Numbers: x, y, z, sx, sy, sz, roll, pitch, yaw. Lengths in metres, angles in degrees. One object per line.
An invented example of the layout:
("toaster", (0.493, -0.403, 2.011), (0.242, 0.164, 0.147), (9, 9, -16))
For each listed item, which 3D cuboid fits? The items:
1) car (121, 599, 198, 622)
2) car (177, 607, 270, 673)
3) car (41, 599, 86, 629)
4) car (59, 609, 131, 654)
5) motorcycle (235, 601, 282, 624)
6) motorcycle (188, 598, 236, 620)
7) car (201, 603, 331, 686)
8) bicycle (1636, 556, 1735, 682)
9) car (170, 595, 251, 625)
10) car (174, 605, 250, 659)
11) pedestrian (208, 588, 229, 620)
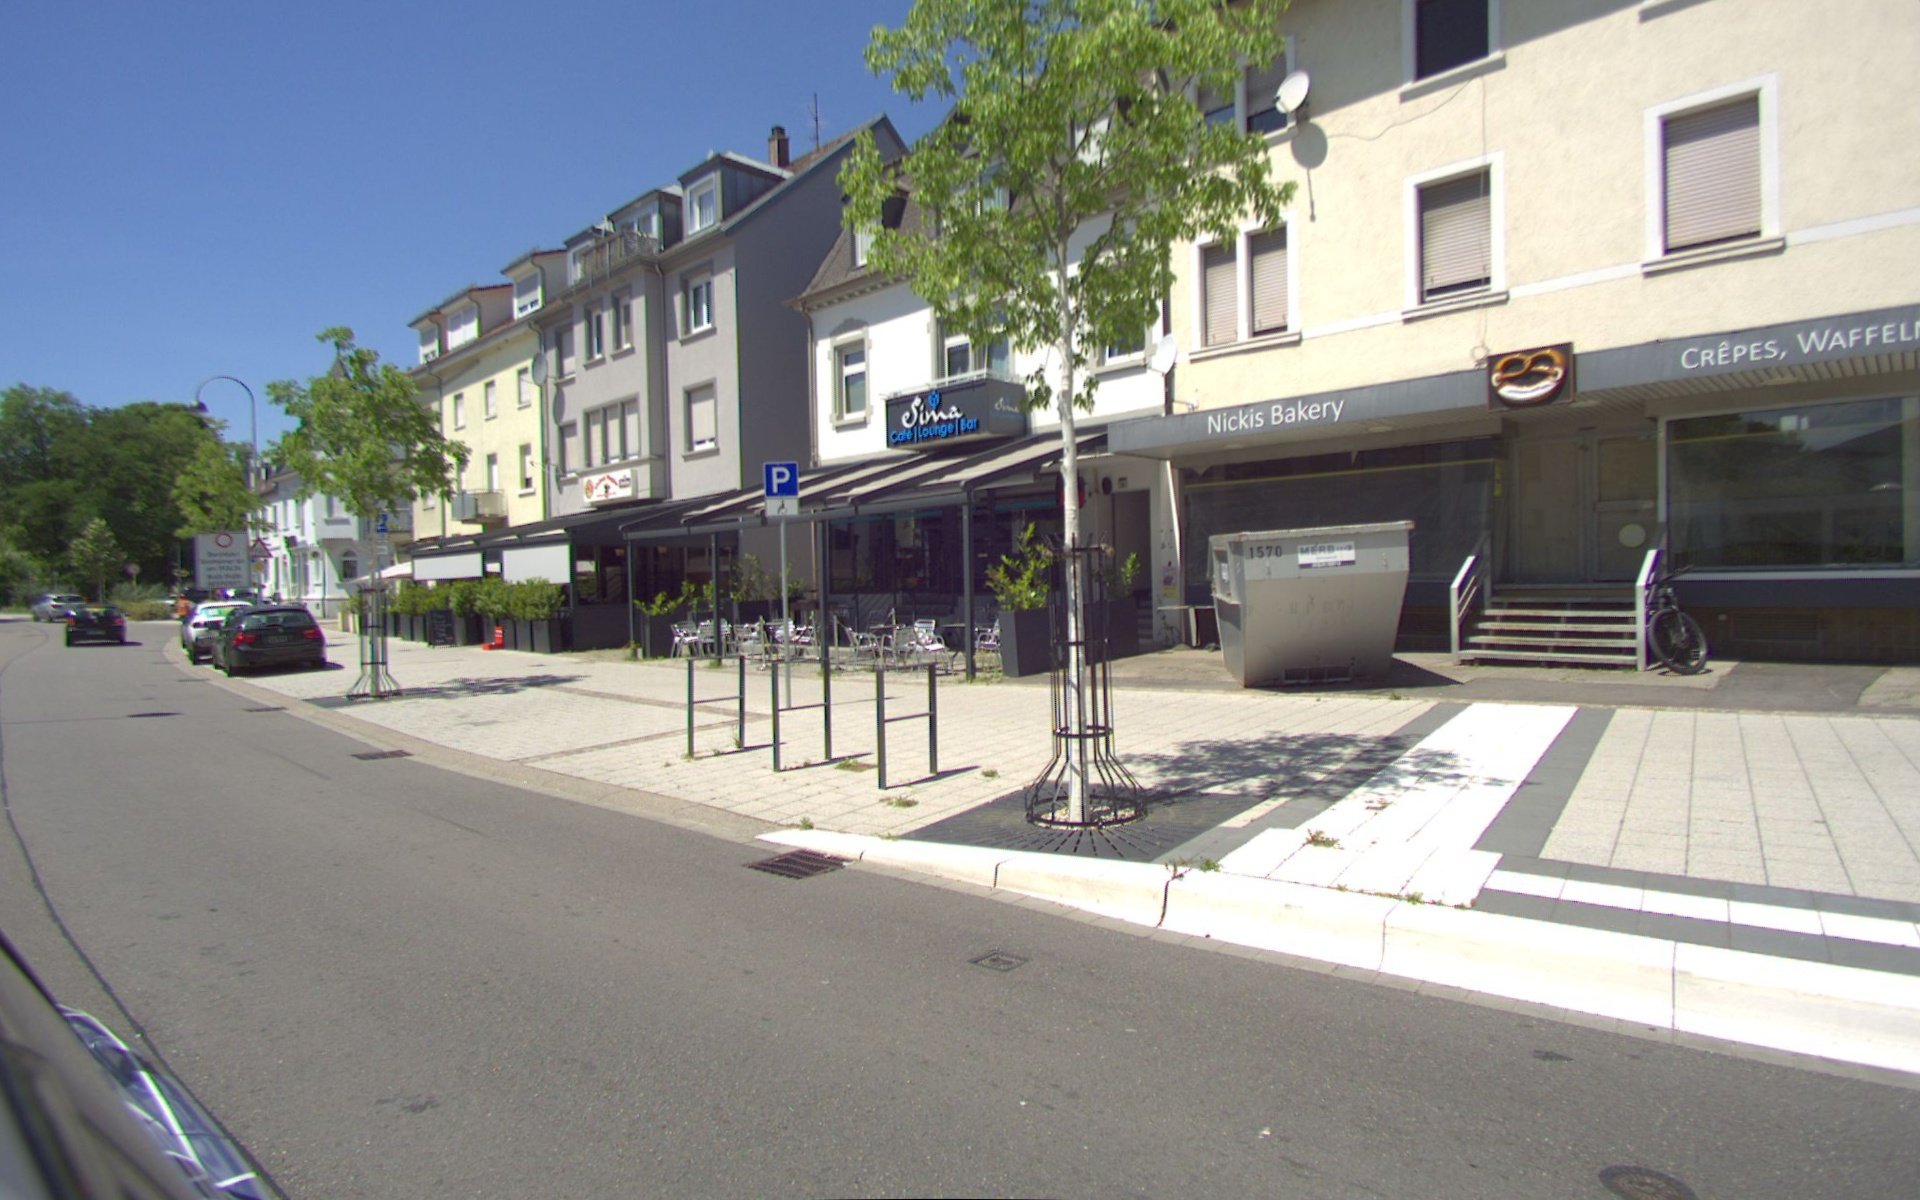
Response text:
("car", (-54.954, 0.702, 69.564), (1.816, 1.548, 3.926), (-1, 0, 11))
("car", (-19.067, 0.963, 26.138), (1.660, 1.495, 3.775), (-4, 2, -39))
("car", (-47.511, 0.723, 53.685), (1.660, 1.495, 4.092), (-2, 1, -40))
("car", (-30.285, 1.074, 35.516), (1.595, 1.465, 3.873), (1, -1, -36))
("motorcycle", (-42.136, 0.727, 60.803), (2.289, 1.335, 0.726), (-1, 0, -42))
("motorcycle", (-45.662, 0.551, 61.767), (2.289, 1.335, 0.726), (-1, 0, -42))
("car", (-15.275, 0.876, 22.174), (1.733, 1.456, 4.455), (-5, 4, -41))
("bicycle", (8.147, 0.177, 11.333), (0.616, 1.243, 1.745), (-1, 3, 44))
("car", (-47.022, 0.614, 63.529), (4.018, 1.752, 1.817), (-1, 0, -40))
("car", (-23.583, 0.950, 31.837), (1.660, 1.495, 4.347), (-4, 2, -39))
("pedestrian", (-42.188, 0.230, 57.588), (0.801, 1.779, 0.749), (-1, 0, 35))
